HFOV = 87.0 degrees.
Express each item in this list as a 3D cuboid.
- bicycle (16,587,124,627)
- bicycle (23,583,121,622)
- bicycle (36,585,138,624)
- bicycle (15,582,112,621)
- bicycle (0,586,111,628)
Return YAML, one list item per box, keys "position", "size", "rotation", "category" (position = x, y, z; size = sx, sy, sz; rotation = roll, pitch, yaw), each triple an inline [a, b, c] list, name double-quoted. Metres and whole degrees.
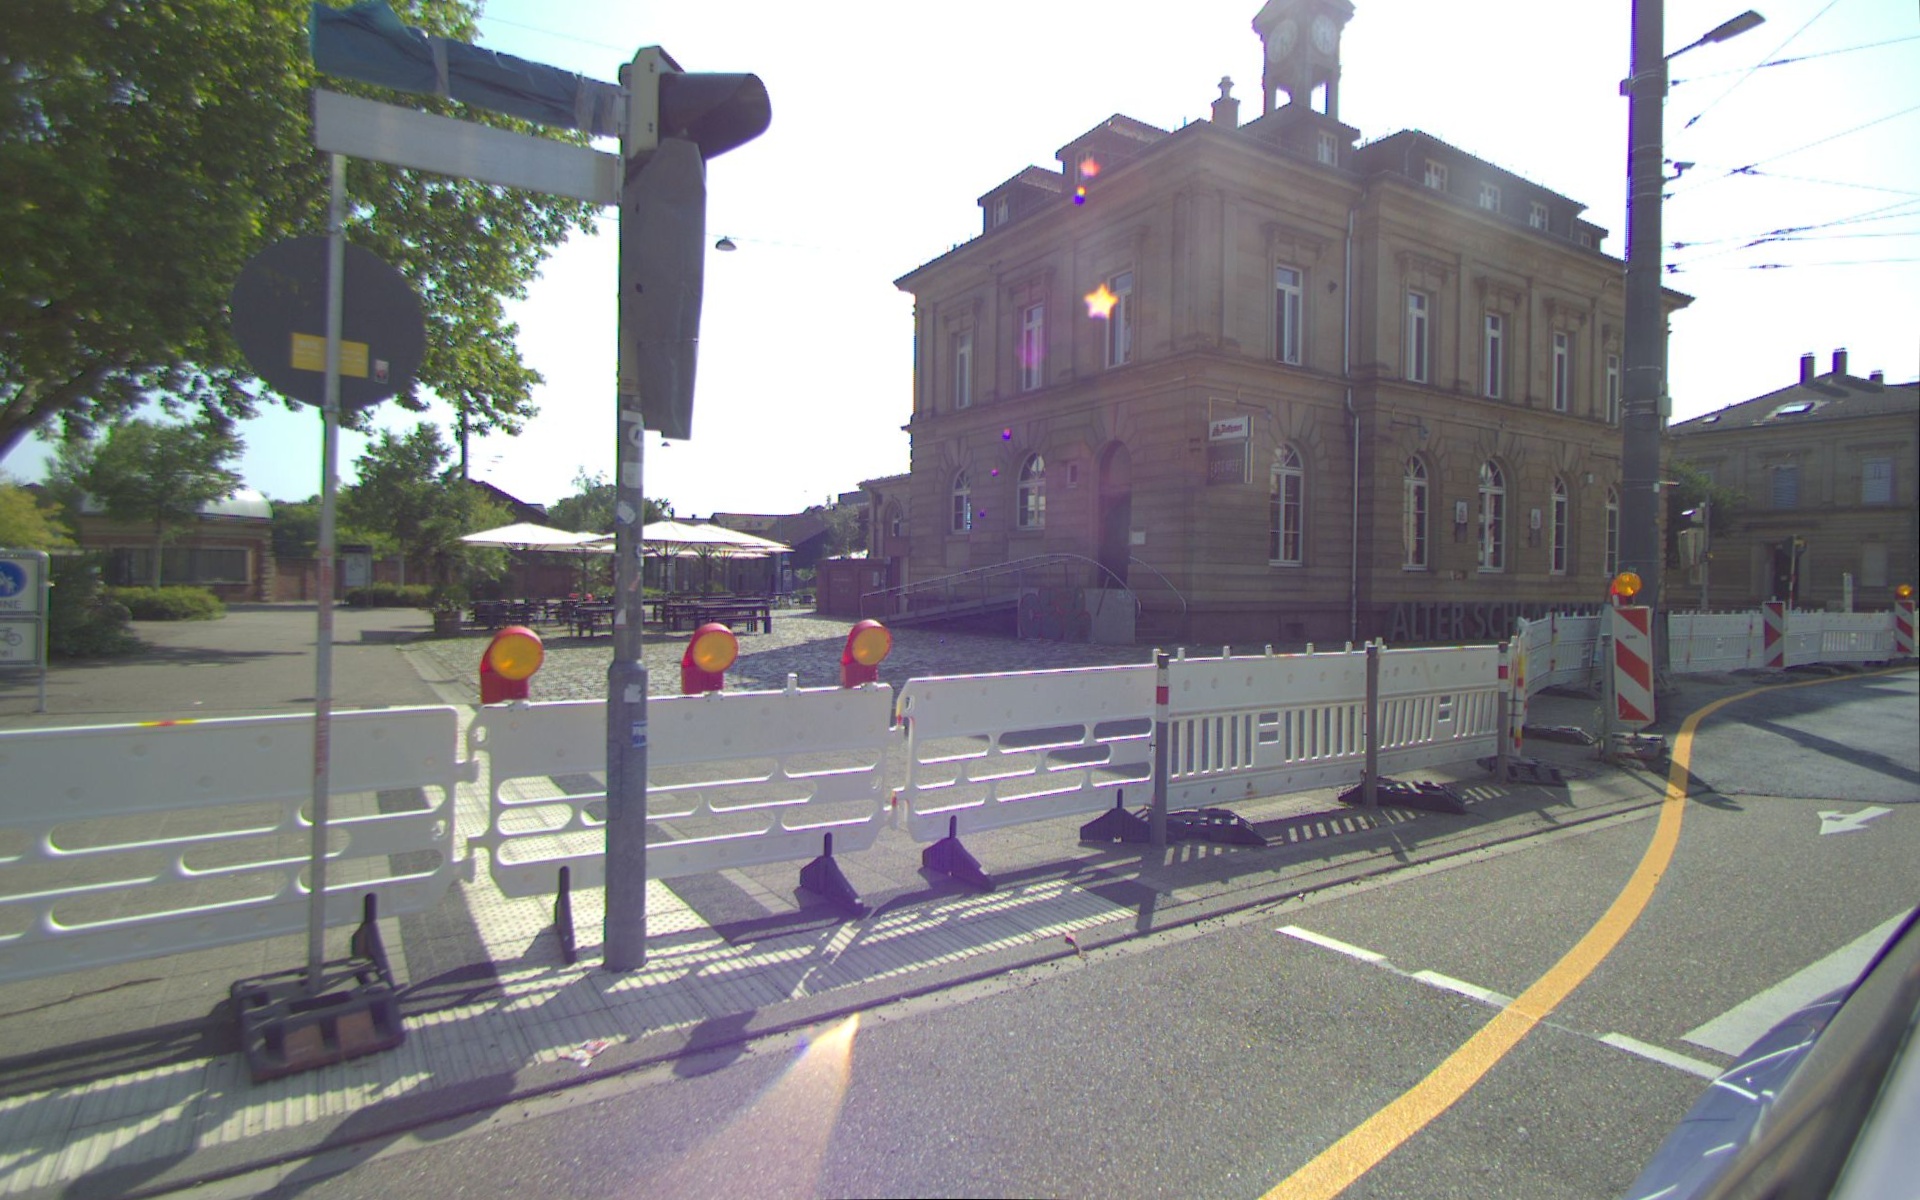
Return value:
- position: [-20.677, 0.165, 23.545]
  size: [1.758, 0.871, 0.570]
  rotation: [2, 1, -24]
  category: "bicycle"
- position: [-22.515, 0.073, 25.690]
  size: [1.758, 0.911, 0.570]
  rotation: [2, 1, -24]
  category: "bicycle"
- position: [-21.114, 0.118, 24.516]
  size: [1.758, 0.871, 0.570]
  rotation: [2, 1, -24]
  category: "bicycle"
- position: [-23.105, 0.045, 26.112]
  size: [1.758, 0.911, 0.570]
  rotation: [2, 1, -24]
  category: "bicycle"
- position: [-20.255, 0.157, 22.680]
  size: [1.758, 0.871, 0.650]
  rotation: [2, 1, -24]
  category: "bicycle"
